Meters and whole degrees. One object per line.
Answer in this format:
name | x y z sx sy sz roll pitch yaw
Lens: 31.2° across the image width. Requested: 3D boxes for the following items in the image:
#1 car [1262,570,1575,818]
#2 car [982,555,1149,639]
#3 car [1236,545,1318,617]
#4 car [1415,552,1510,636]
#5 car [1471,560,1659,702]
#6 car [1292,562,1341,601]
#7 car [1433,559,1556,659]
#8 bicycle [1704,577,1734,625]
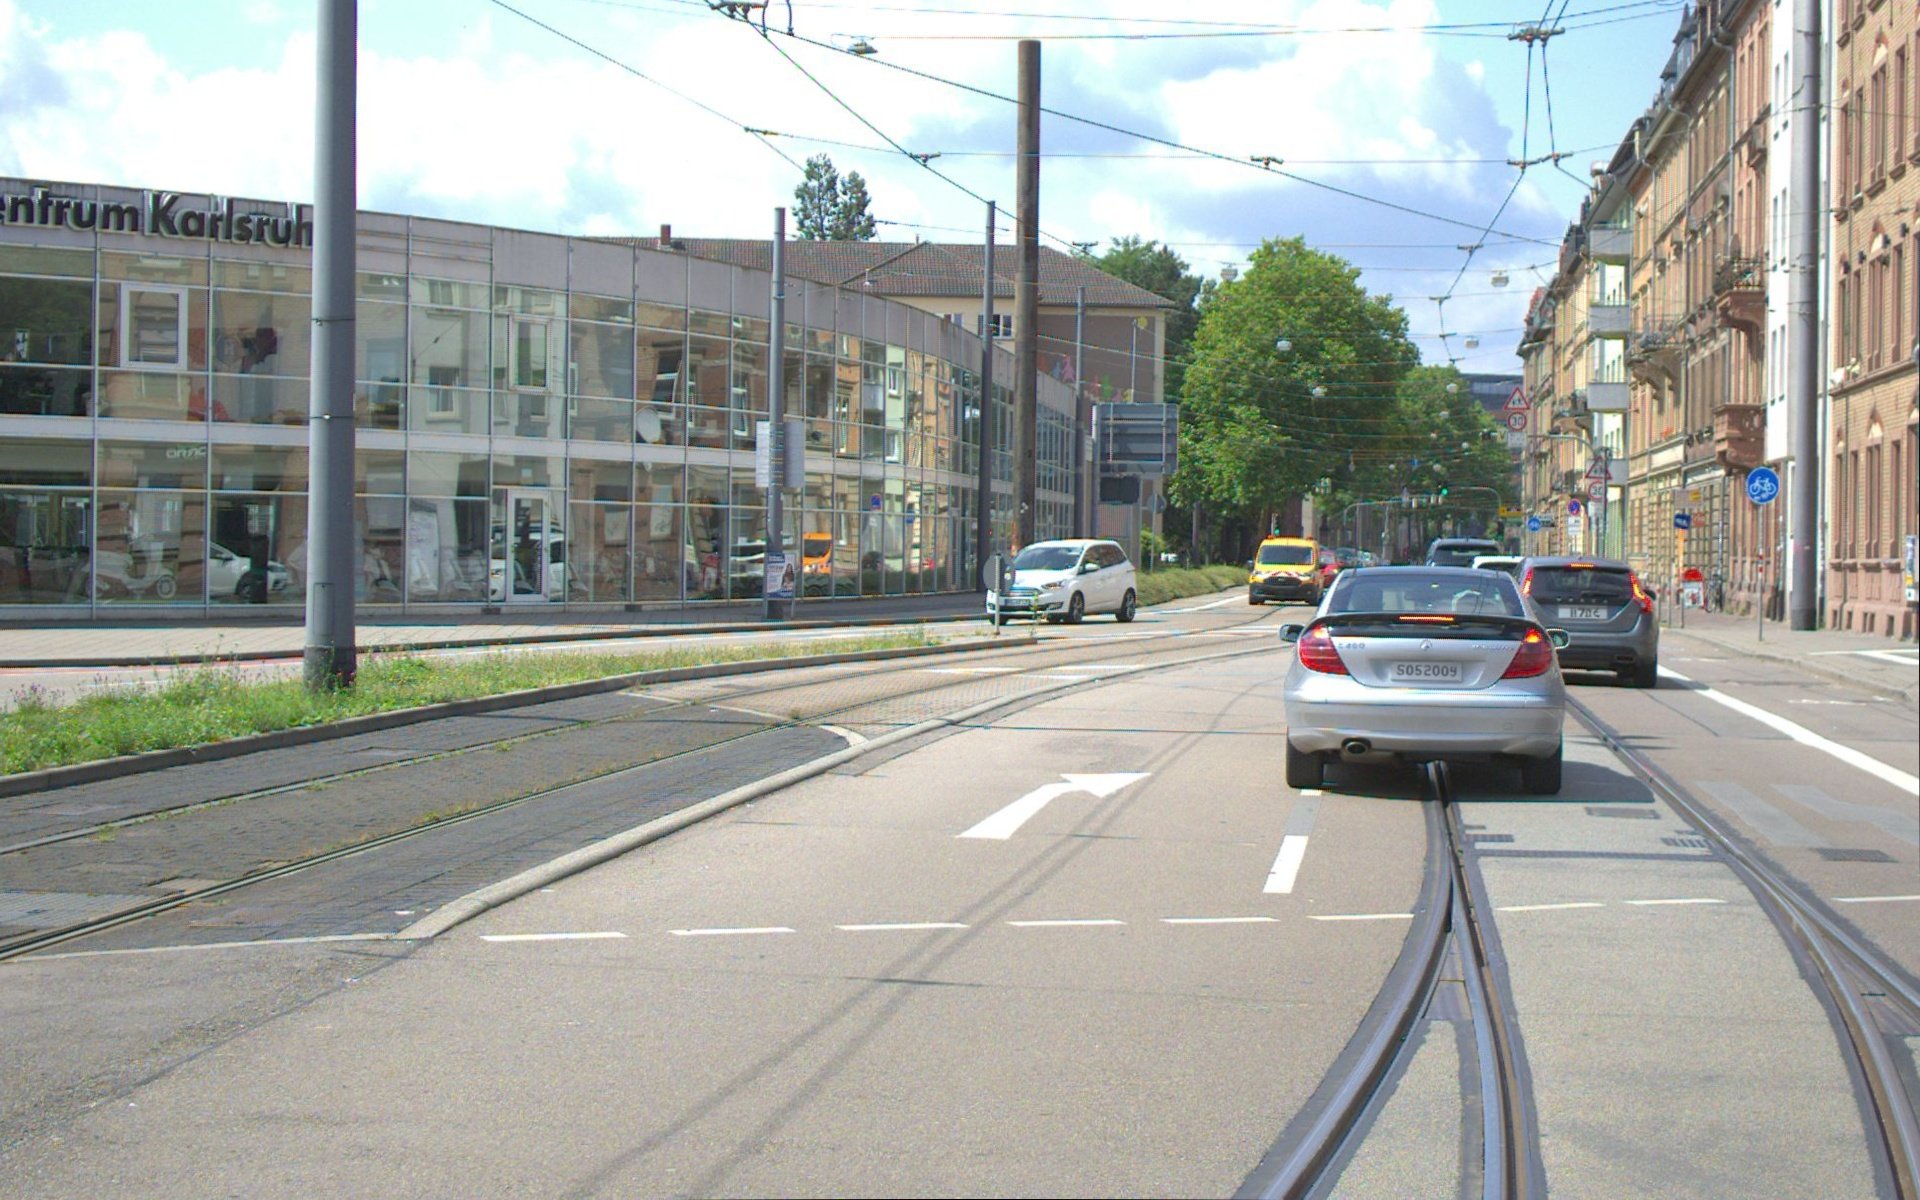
car | 2.908 0.538 22.475 1.815 1.415 4.187 1 1 5
car | 2.120 -0.083 67.743 1.768 1.598 4.488 0 1 23
car | 8.469 -0.515 91.507 1.911 1.859 4.366 0 0 8
car | 10.241 -0.138 70.288 1.815 1.656 4.084 1 0 7
car | 7.016 0.323 40.189 1.815 1.519 4.084 1 1 5
car | 13.176 -0.674 126.913 1.702 1.423 3.901 1 0 7
car | 8.562 0.109 55.291 1.815 1.519 3.954 1 1 7
bicycle | 19.114 0.013 86.605 0.586 1.174 2.204 0 1 8
